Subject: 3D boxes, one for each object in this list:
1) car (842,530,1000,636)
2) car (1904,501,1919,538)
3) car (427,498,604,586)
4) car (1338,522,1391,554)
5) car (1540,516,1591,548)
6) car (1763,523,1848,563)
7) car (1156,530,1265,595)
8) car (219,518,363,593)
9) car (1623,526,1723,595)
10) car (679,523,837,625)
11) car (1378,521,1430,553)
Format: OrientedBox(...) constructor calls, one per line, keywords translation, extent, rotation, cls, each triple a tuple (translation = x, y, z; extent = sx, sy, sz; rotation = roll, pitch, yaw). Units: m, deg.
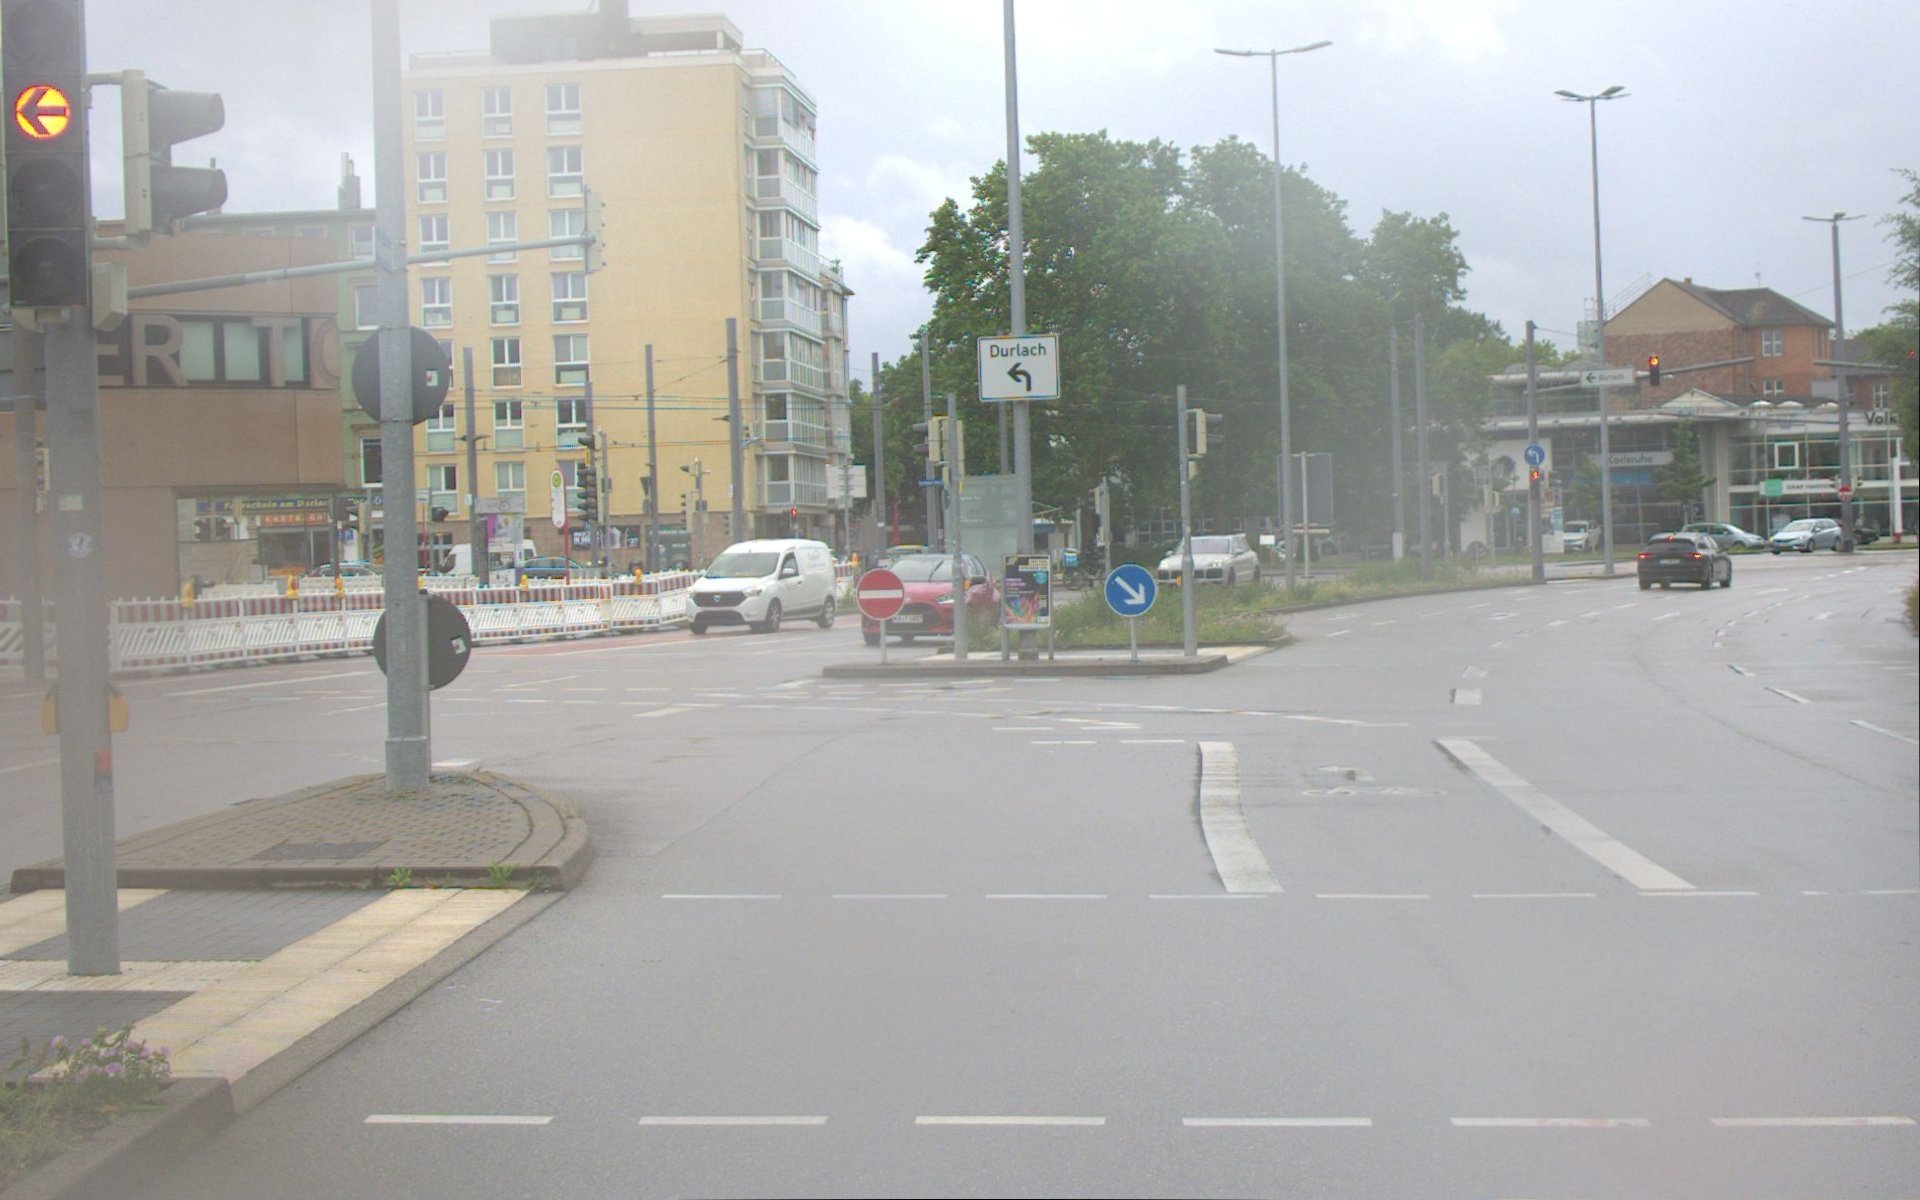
OrientedBox(translation=(-0.603, -0.308, 56.767), extent=(1.791, 1.637, 4.044), rotation=(-1, 1, 11), cls="car")
OrientedBox(translation=(44.496, -3.680, 155.301), extent=(1.794, 1.637, 4.149), rotation=(0, 2, 44), cls="car")
OrientedBox(translation=(-18.276, -2.407, 141.453), extent=(6.742, 3.368, 2.809), rotation=(-2, 1, 2), cls="car")
OrientedBox(translation=(22.470, -3.451, 190.801), extent=(1.792, 1.637, 4.154), rotation=(-1, 1, 23), cls="car")
OrientedBox(translation=(32.867, -3.682, 186.496), extent=(1.792, 1.637, 4.154), rotation=(-1, 1, 23), cls="car")
OrientedBox(translation=(36.775, -2.493, 149.480), extent=(1.794, 1.637, 4.149), rotation=(-1, 2, 43), cls="car")
OrientedBox(translation=(6.855, -1.038, 93.624), extent=(1.792, 1.637, 4.155), rotation=(-1, 1, 21), cls="car")
OrientedBox(translation=(-27.646, -1.847, 142.093), extent=(5.351, 2.877, 2.339), rotation=(-2, 1, 2), cls="car")
OrientedBox(translation=(18.031, -1.021, 86.824), extent=(1.792, 1.637, 4.155), rotation=(-1, 1, 21), cls="car")
OrientedBox(translation=(-3.887, -0.530, 66.906), extent=(1.791, 1.852, 4.156), rotation=(-1, 1, 15), cls="car")
OrientedBox(translation=(24.546, -3.494, 189.974), extent=(1.792, 1.637, 4.154), rotation=(-1, 1, 23), cls="car")
